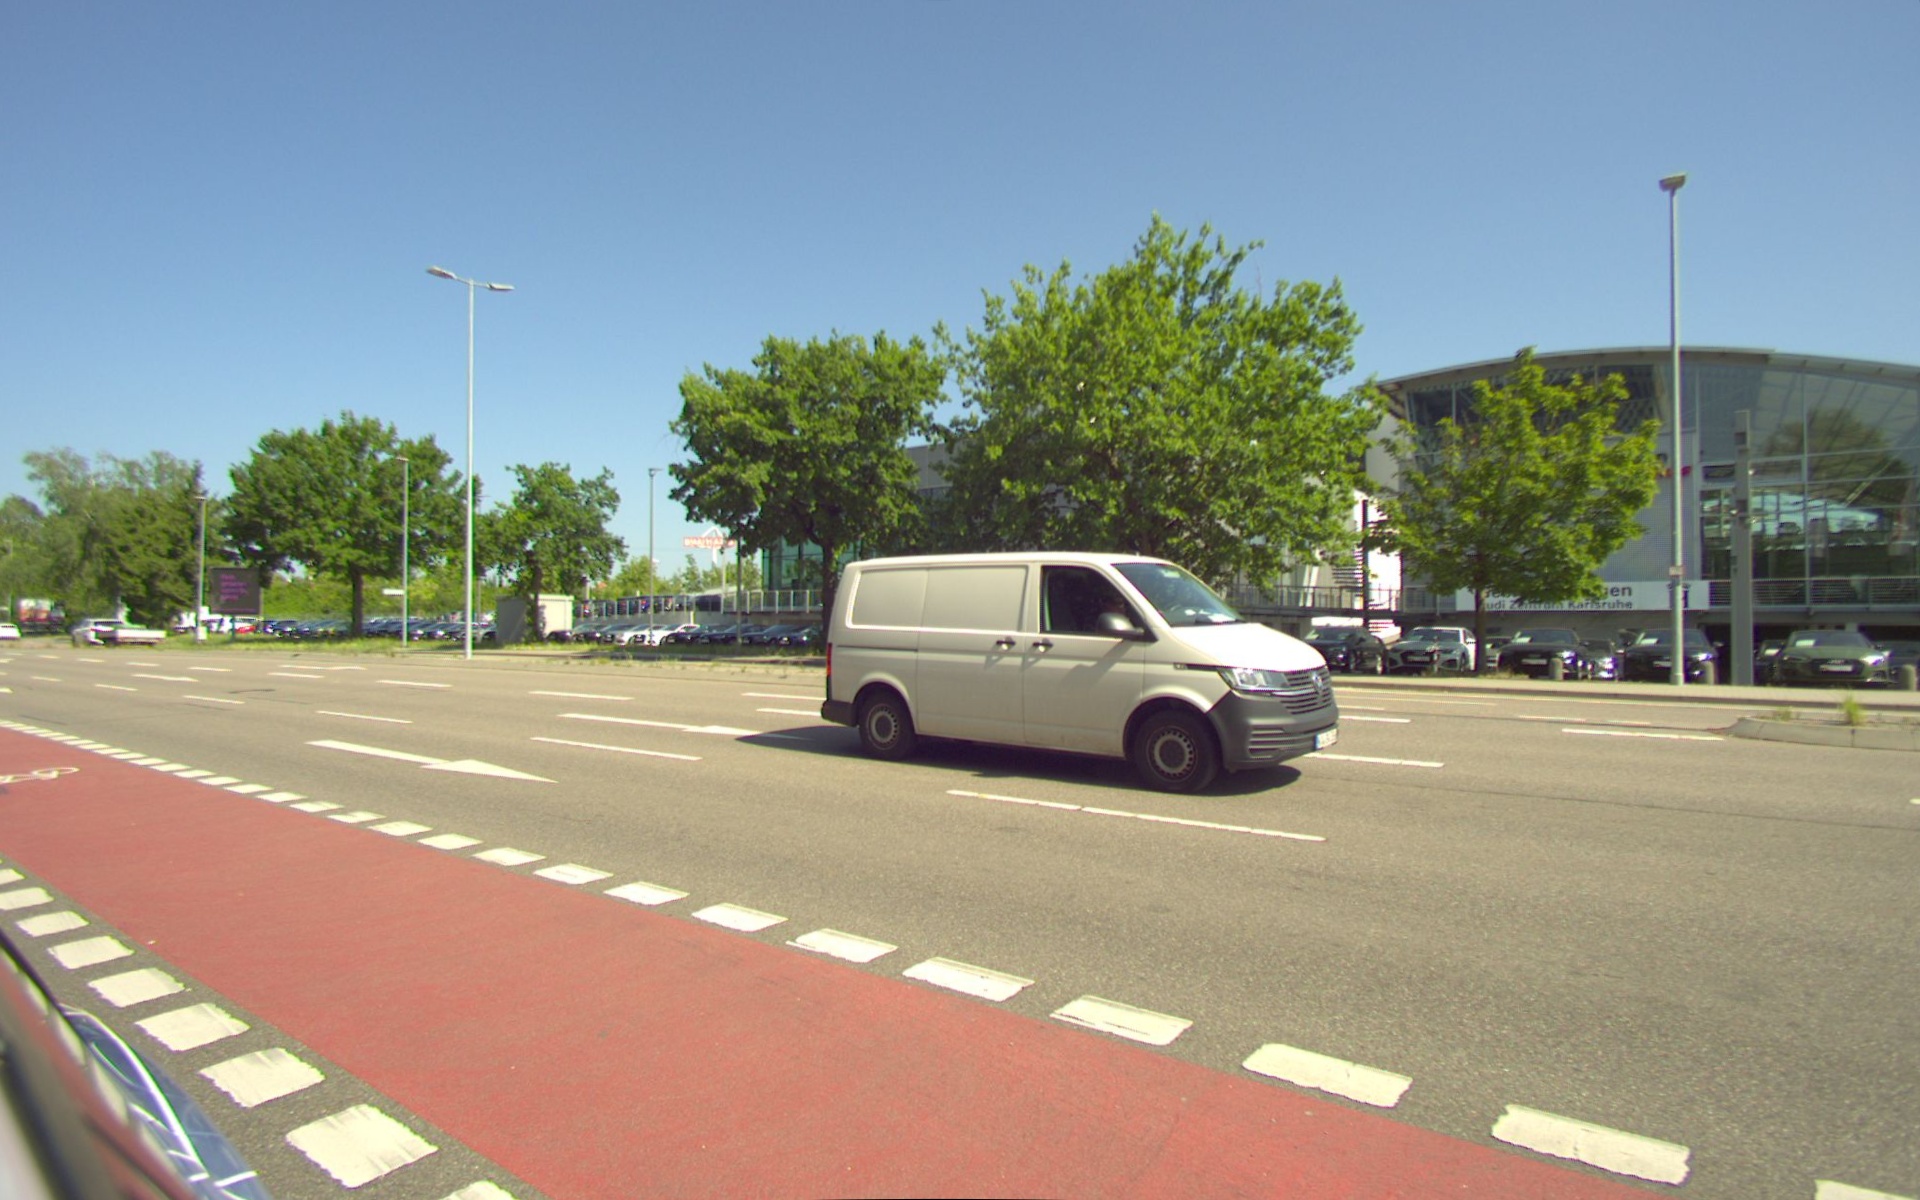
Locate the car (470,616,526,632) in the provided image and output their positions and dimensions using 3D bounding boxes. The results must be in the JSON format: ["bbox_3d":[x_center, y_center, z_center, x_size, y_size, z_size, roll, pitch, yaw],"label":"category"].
[{"bbox_3d":[-41.865,2.216,91.735,1.951,1.361,4.224,-2,-3,38],"label":"car"}]

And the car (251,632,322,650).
[{"bbox_3d":[-52.496,3.196,78.904,1.952,1.392,4.223,-2,-3,40],"label":"car"}]

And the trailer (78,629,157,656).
[{"bbox_3d":[-46.915,2.372,56.326,5.760,1.464,1.976,-2,-3,36],"label":"trailer"}]

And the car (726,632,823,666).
[{"bbox_3d":[-8.149,2.145,44.602,1.921,1.386,3.949,-2,-3,38],"label":"car"}]

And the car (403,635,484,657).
[{"bbox_3d":[-32.976,2.927,64.694,1.952,1.361,4.223,-2,-3,40],"label":"car"}]

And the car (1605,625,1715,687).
[{"bbox_3d":[16.926,1.326,24.422,1.996,1.353,3.950,-2,-3,36],"label":"car"}]

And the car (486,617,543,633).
[{"bbox_3d":[-39.654,2.278,90.126,1.951,1.361,4.224,-2,-3,38],"label":"car"}]

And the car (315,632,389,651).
[{"bbox_3d":[-44.034,3.015,73.345,1.952,1.361,4.223,-2,-3,40],"label":"car"}]

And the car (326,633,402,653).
[{"bbox_3d":[-42.174,3.035,71.638,1.952,1.361,4.223,-2,-3,40],"label":"car"}]

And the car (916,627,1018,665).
[{"bbox_3d":[0.319,1.740,38.602,1.921,1.386,3.949,-2,-3,38],"label":"car"}]

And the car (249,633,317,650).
[{"bbox_3d":[-54.462,3.341,81.458,1.952,1.338,4.223,-2,-3,40],"label":"car"}]

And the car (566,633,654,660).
[{"bbox_3d":[-18.193,2.409,52.713,1.863,1.386,3.949,-2,-3,38],"label":"car"}]

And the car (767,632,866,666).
[{"bbox_3d":[-6.032,2.062,42.847,1.921,1.386,3.949,-2,-3,38],"label":"car"}]

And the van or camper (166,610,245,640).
[{"bbox_3d":[-68.171,2.209,91.535,1.996,2.489,5.331,-3,-2,35],"label":"van or camper"}]

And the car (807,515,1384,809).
[{"bbox_3d":[0.988,0.517,9.208,4.968,2.009,1.863,-2,-3,39],"label":"car"}]

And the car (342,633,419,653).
[{"bbox_3d":[-40.022,2.970,69.945,1.952,1.361,4.223,-2,-3,40],"label":"car"}]

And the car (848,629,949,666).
[{"bbox_3d":[-2.394,1.885,40.237,1.921,1.386,3.949,-2,-3,38],"label":"car"}]

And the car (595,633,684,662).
[{"bbox_3d":[-16.150,2.396,51.203,1.863,1.386,3.949,-2,-3,38],"label":"car"}]

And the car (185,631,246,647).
[{"bbox_3d":[-65.155,3.418,88.624,1.744,1.450,4.042,-2,-3,43],"label":"car"}]

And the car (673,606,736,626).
[{"bbox_3d":[-18.661,1.218,74.061,1.951,1.361,4.224,-2,-3,38],"label":"car"}]

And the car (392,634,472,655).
[{"bbox_3d":[-34.480,2.894,66.134,1.952,1.361,4.223,-2,-3,40],"label":"car"}]

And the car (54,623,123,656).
[{"bbox_3d":[-51.291,2.307,59.516,4.927,1.847,1.976,-2,-3,36],"label":"car"}]

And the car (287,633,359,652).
[{"bbox_3d":[-48.118,3.200,76.499,1.952,1.361,4.223,-2,-3,40],"label":"car"}]

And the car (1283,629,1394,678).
[{"bbox_3d":[11.015,1.518,29.316,1.996,1.321,3.950,-2,-3,36],"label":"car"}]

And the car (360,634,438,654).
[{"bbox_3d":[-37.999,2.967,68.647,1.952,1.361,4.223,-2,-3,40],"label":"car"}]

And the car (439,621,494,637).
[{"bbox_3d":[-45.947,2.717,94.286,1.951,1.361,4.224,-2,-3,38],"label":"car"}]

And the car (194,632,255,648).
[{"bbox_3d":[-63.425,3.456,87.309,1.744,1.364,4.042,-1,-2,43],"label":"car"}]

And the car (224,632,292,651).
[{"bbox_3d":[-57.411,3.400,82.779,1.952,1.515,4.223,-2,-3,40],"label":"car"}]

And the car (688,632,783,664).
[{"bbox_3d":[-10.229,2.188,46.320,1.921,1.386,3.949,-2,-3,38],"label":"car"}]

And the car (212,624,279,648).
[{"bbox_3d":[-59.329,2.977,84.068,1.952,1.899,4.223,-2,-3,40],"label":"car"}]

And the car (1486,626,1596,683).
[{"bbox_3d":[14.987,1.371,26.000,1.996,1.353,3.950,-2,-3,36],"label":"car"}]

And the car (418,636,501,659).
[{"bbox_3d":[-31.170,2.962,63.171,1.952,1.361,4.223,-2,-3,40],"label":"car"}]

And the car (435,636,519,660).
[{"bbox_3d":[-29.477,2.908,61.810,1.952,1.361,4.223,-2,-3,40],"label":"car"}]

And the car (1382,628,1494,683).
[{"bbox_3d":[13.053,1.477,27.518,1.996,1.353,4.112,-2,-3,36],"label":"car"}]

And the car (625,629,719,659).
[{"bbox_3d":[-14.086,2.147,49.640,2.022,1.386,4.003,-2,-3,38],"label":"car"}]

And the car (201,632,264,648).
[{"bbox_3d":[-61.275,3.357,85.285,1.742,1.303,4.045,-2,-3,40],"label":"car"}]

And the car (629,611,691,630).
[{"bbox_3d":[-22.946,1.582,77.542,1.951,1.361,4.224,-2,-3,38],"label":"car"}]

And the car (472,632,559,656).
[{"bbox_3d":[-25.788,2.535,58.868,1.952,1.361,4.223,-2,-3,40],"label":"car"}]

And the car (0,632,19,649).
[{"bbox_3d":[-84.934,3.564,89.639,3.542,1.475,1.639,-2,-4,35],"label":"car"}]

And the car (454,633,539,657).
[{"bbox_3d":[-27.608,2.651,60.368,1.952,1.361,4.223,-2,-3,40],"label":"car"}]

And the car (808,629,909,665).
[{"bbox_3d":[-4.098,1.922,41.376,1.921,1.386,3.949,-2,-3,38],"label":"car"}]

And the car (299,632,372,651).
[{"bbox_3d":[-46.141,3.089,74.833,1.952,1.361,4.223,-2,-3,40],"label":"car"}]

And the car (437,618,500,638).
[{"bbox_3d":[-40.294,2.329,83.103,1.952,1.655,4.223,-2,-3,40],"label":"car"}]

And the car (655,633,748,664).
[{"bbox_3d":[-12.200,2.296,48.000,1.921,1.386,3.949,-2,-3,38],"label":"car"}]

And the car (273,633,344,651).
[{"bbox_3d":[-50.173,3.254,78.042,1.952,1.361,4.223,-2,-3,40],"label":"car"}]

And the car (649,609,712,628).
[{"bbox_3d":[-20.888,1.399,75.783,1.951,1.361,4.224,-2,-3,38],"label":"car"}]

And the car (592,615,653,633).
[{"bbox_3d":[-26.870,1.905,80.666,1.951,1.361,4.224,-2,-3,38],"label":"car"}]

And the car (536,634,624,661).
[{"bbox_3d":[-20.357,2.548,54.328,1.997,1.386,3.949,-2,-3,38],"label":"car"}]

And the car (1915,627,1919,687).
[{"bbox_3d":[21.445,1.206,20.902,1.996,1.353,3.950,-2,-3,36],"label":"car"}]

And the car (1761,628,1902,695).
[{"bbox_3d":[19.359,1.329,22.662,1.996,1.353,3.952,-2,-3,35],"label":"car"}]
